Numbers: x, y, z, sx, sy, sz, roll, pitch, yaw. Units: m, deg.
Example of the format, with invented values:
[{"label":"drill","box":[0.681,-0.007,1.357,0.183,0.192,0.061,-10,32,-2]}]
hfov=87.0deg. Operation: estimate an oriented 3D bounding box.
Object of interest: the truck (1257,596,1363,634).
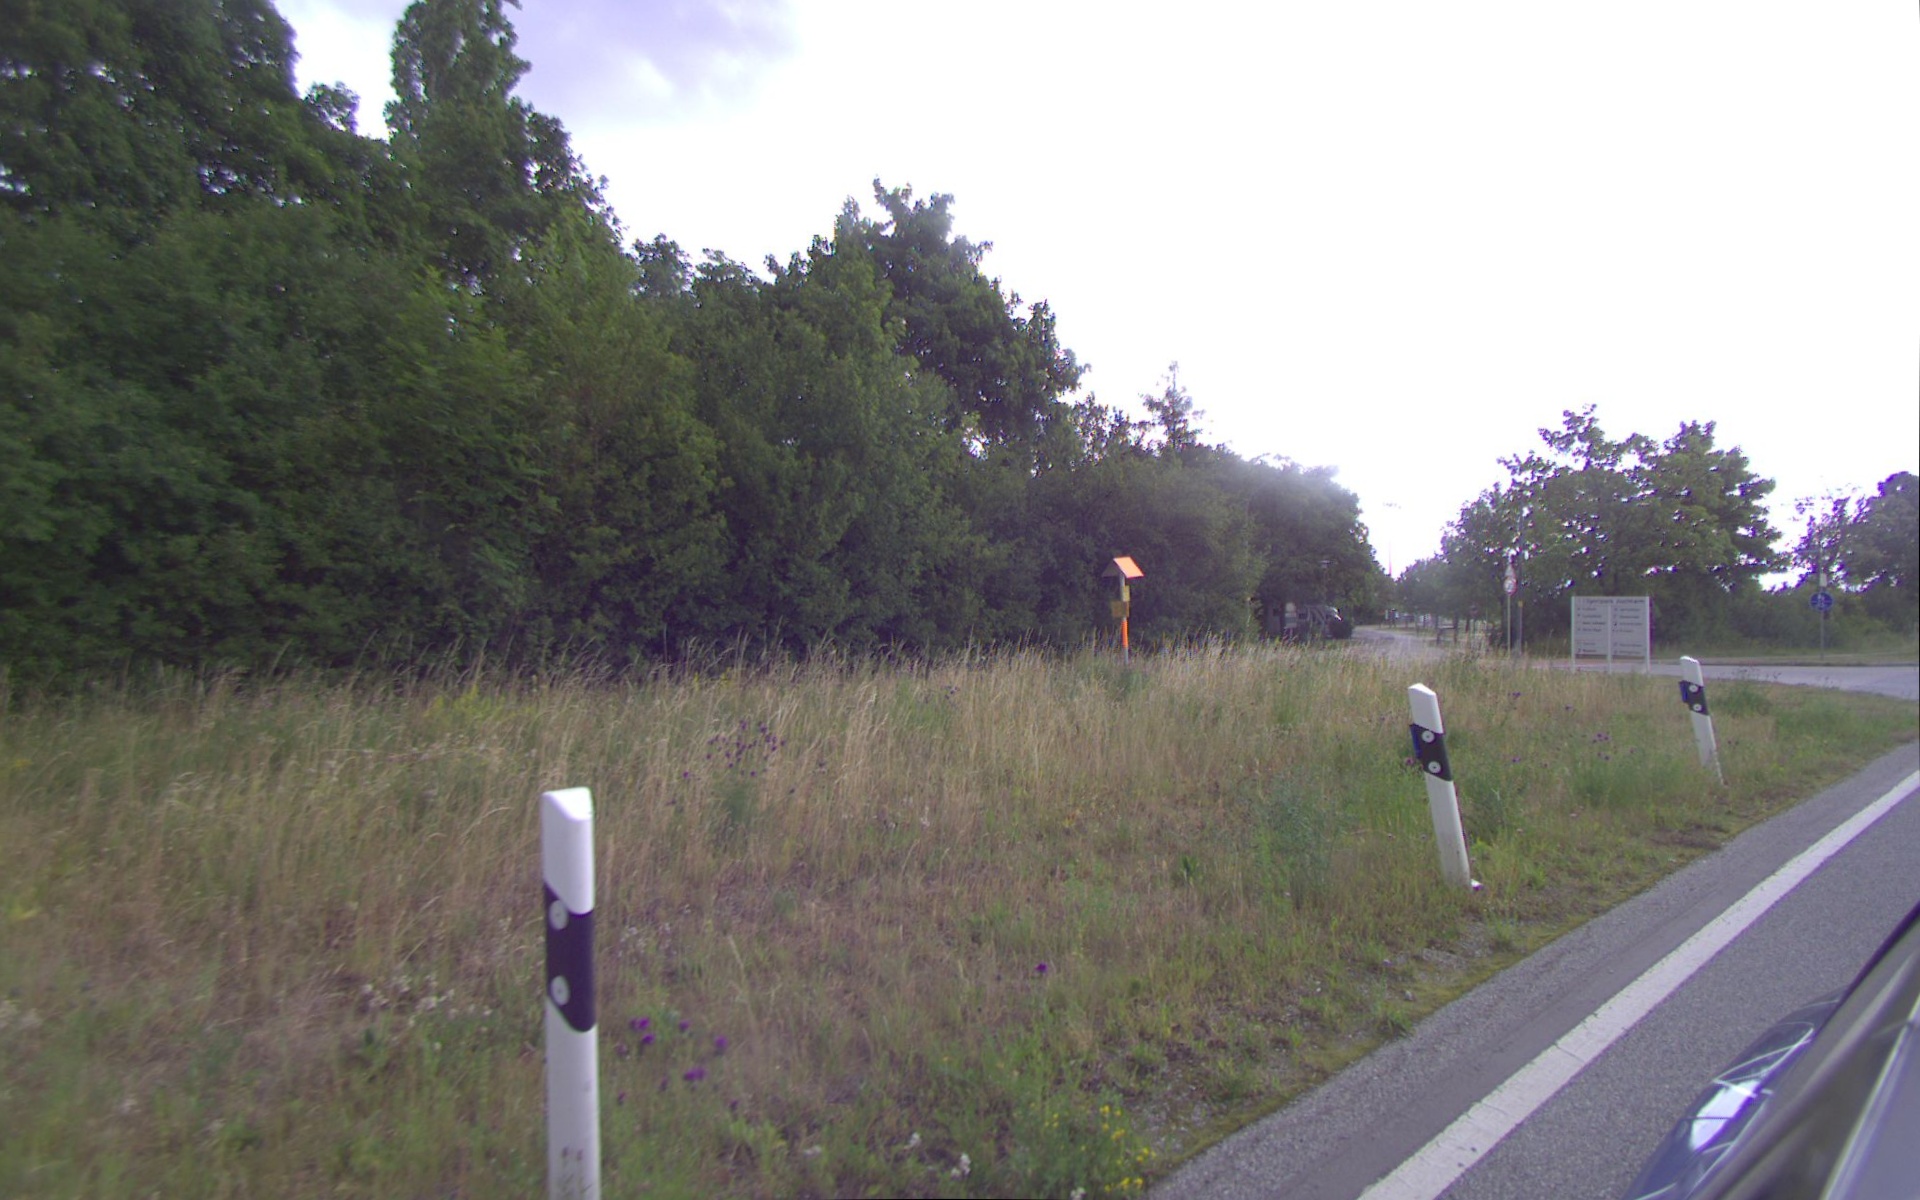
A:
[{"label":"truck","box":[29.811,1.200,86.231,8.284,3.149,3.047,0,0,25]}]
